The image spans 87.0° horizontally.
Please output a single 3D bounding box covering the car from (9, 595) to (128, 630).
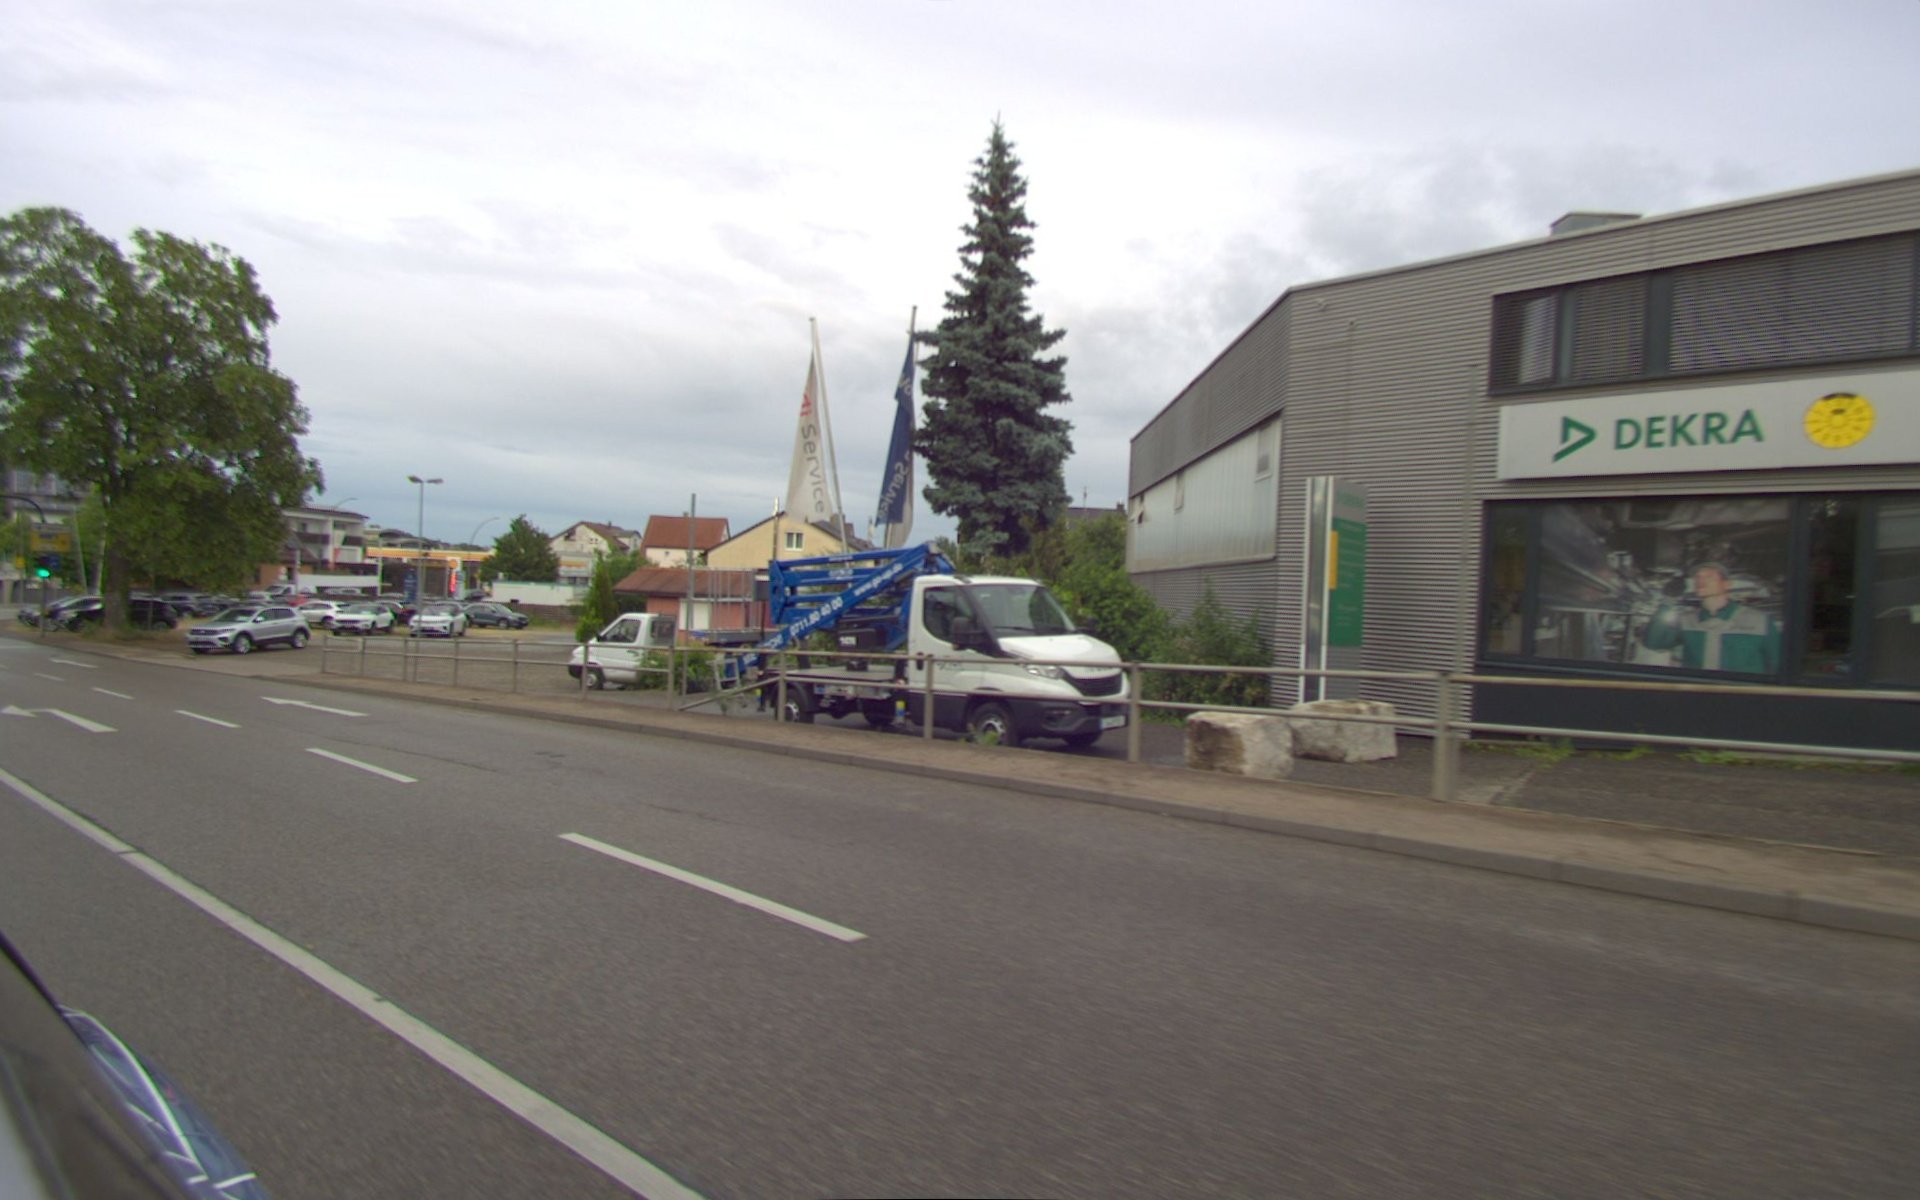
[{"bbox_3d":[-42.177,0.608,48.001,4.093,1.521,1.676,2,0,-38],"label":"car"}]

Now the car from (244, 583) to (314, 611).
[{"bbox_3d":[-57.352,-0.207,85.344,2.028,2.102,5.246,1,-2,5],"label":"car"}]

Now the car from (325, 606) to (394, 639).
[{"bbox_3d":[-29.972,1.079,50.639,1.761,1.521,4.054,2,-1,-12],"label":"car"}]

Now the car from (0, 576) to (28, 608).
[{"bbox_3d":[-68.604,-0.634,71.346,4.332,2.120,1.767,4,0,7],"label":"car"}]

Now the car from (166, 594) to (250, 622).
[{"bbox_3d":[-45.050,0.481,60.672,3.718,1.562,1.594,2,-1,-4],"label":"car"}]

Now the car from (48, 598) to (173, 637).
[{"bbox_3d":[-36.417,0.760,43.437,1.671,1.579,3.845,1,-1,39],"label":"car"}]

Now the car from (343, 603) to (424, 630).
[{"bbox_3d":[-34.952,1.006,61.404,3.993,1.463,1.788,2,-1,5],"label":"car"}]

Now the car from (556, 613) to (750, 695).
[{"bbox_3d":[-7.708,1.316,25.616,4.235,1.885,2.057,1,-1,10],"label":"car"}]

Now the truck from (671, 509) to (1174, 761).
[{"bbox_3d":[-0.999,0.409,14.103,7.892,2.653,1.972,0,-2,43],"label":"truck"}]

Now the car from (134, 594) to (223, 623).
[{"bbox_3d":[-44.586,0.488,57.767,3.718,1.562,1.594,2,-1,-4],"label":"car"}]

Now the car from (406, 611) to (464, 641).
[{"bbox_3d":[-26.567,1.281,51.326,1.799,1.426,4.021,2,-1,-15],"label":"car"}]

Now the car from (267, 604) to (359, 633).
[{"bbox_3d":[-35.464,1.001,55.535,3.993,1.463,1.788,2,-1,5],"label":"car"}]

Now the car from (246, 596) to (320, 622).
[{"bbox_3d":[-44.736,0.614,66.932,3.718,1.562,1.594,2,-1,-4],"label":"car"}]

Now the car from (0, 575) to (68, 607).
[{"bbox_3d":[-70.309,-0.669,76.573,4.171,2.120,1.768,4,0,6],"label":"car"}]

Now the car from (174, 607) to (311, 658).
[{"bbox_3d":[-25.117,1.090,35.611,1.700,1.582,4.000,0,1,6],"label":"car"}]

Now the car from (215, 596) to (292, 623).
[{"bbox_3d":[-44.680,0.598,64.063,3.718,1.562,1.594,2,-1,-4],"label":"car"}]

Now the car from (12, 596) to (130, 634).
[{"bbox_3d":[-39.104,0.670,44.579,1.672,1.579,3.717,1,-1,42],"label":"car"}]

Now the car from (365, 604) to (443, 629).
[{"bbox_3d":[-35.068,1.045,63.886,3.993,1.463,1.788,2,-1,5],"label":"car"}]

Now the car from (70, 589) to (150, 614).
[{"bbox_3d":[-53.848,0.106,64.189,1.631,1.391,3.694,2,-2,7],"label":"car"}]

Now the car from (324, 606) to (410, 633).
[{"bbox_3d":[-34.351,1.128,58.674,3.993,1.463,1.788,2,-1,5],"label":"car"}]

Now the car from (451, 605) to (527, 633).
[{"bbox_3d":[-29.349,1.170,63.082,3.998,1.566,1.785,2,-1,9],"label":"car"}]
